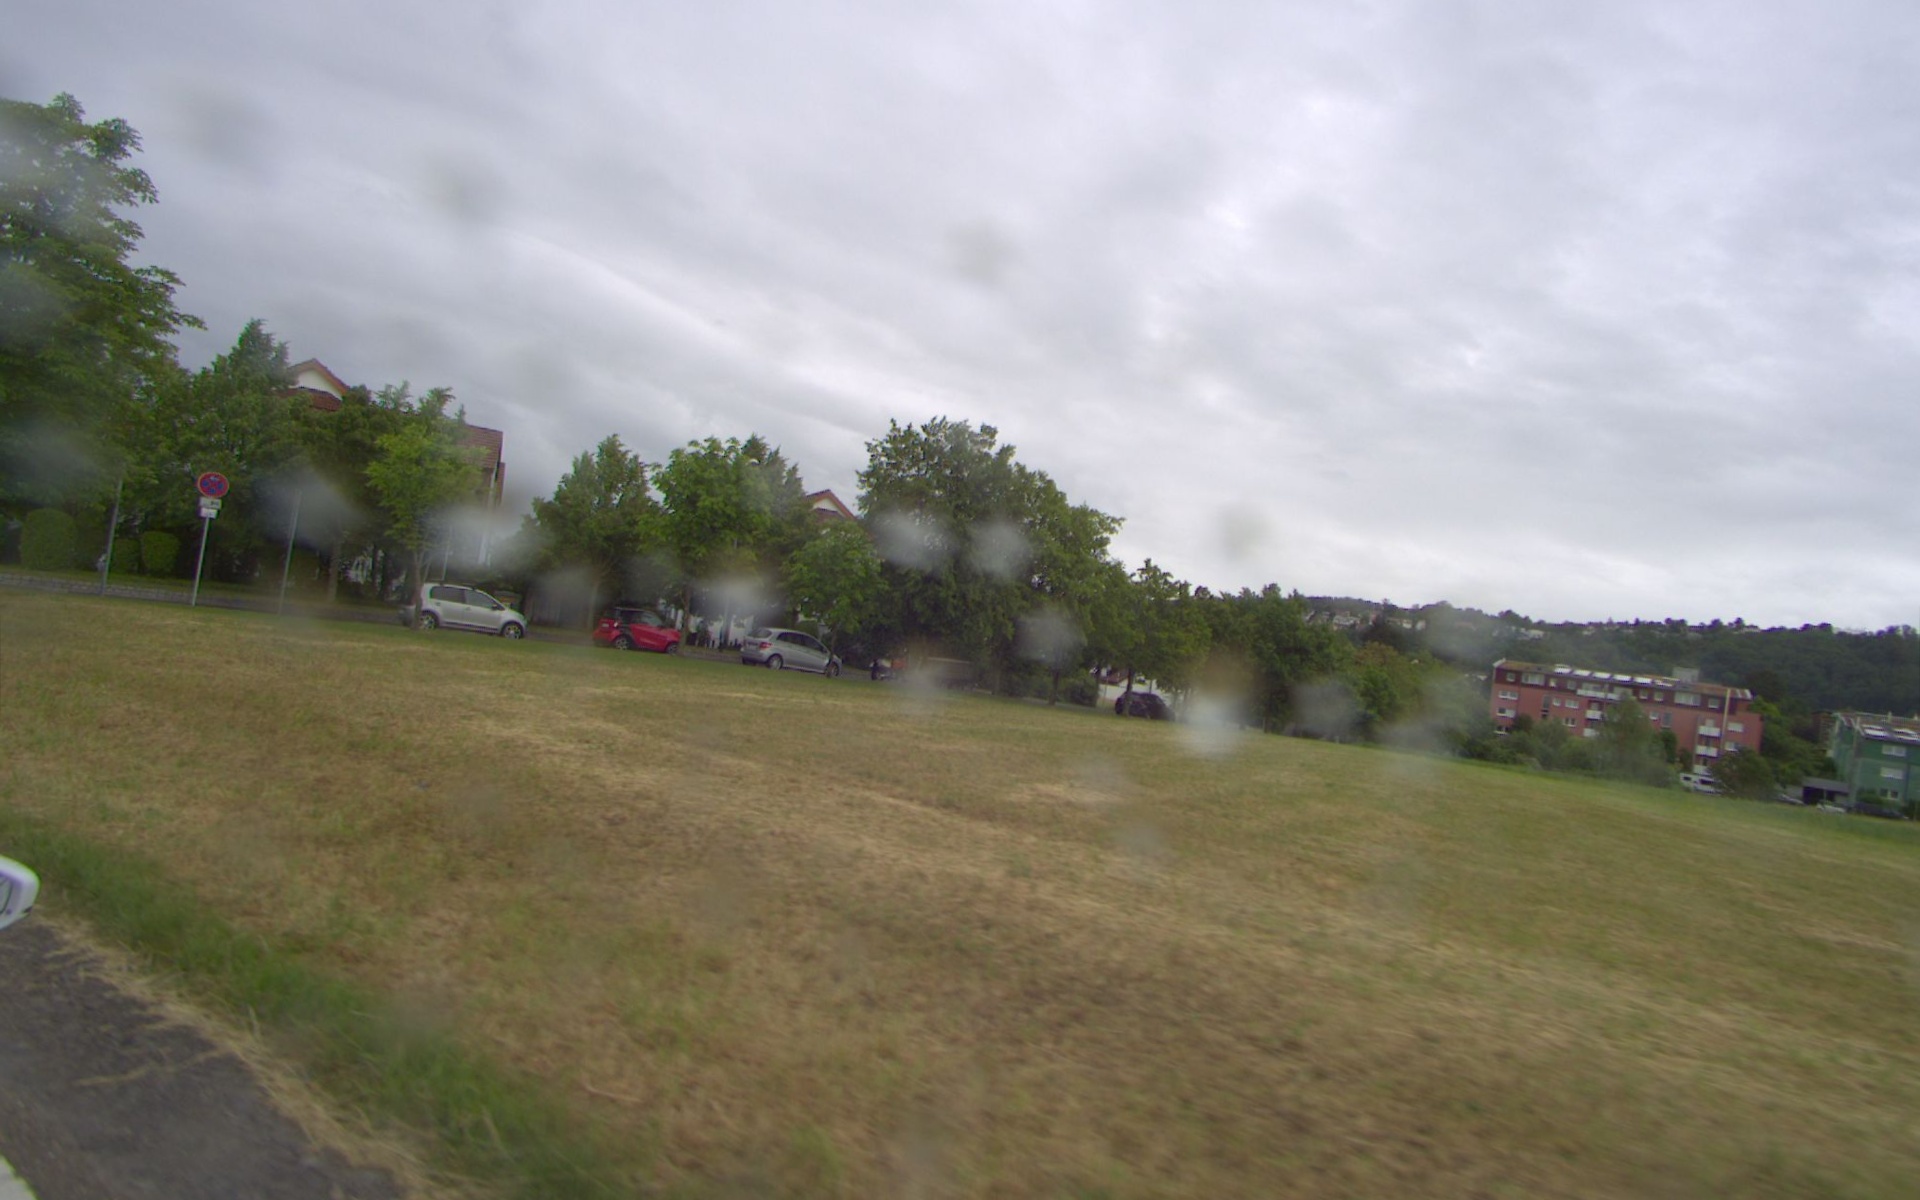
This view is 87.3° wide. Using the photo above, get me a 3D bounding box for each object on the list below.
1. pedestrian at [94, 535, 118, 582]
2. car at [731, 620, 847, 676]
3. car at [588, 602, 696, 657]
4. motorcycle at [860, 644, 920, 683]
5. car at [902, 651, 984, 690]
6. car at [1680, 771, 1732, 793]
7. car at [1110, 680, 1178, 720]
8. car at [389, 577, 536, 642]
[{"bbox_3d":[-38.313,-1.873,45.145,0.554,2.037,0.520,7,-1,-34],"label":"pedestrian"},{"bbox_3d":[-6.503,1.861,38.497,1.828,1.568,3.973,5,-4,43],"label":"car"},{"bbox_3d":[-10.779,1.029,34.173,2.993,1.452,1.536,10,-4,-42],"label":"car"},{"bbox_3d":[-2.866,2.633,41.443,0.958,1.316,2.256,6,-4,43],"label":"motorcycle"},{"bbox_3d":[-0.714,3.127,44.378,1.711,1.295,3.314,5,-4,43],"label":"car"},{"bbox_3d":[97.207,23.676,131.048,5.207,2.036,1.992,4,-3,40],"label":"car"},{"bbox_3d":[10.487,5.690,57.196,1.935,1.623,3.990,6,-6,41],"label":"car"},{"bbox_3d":[-14.861,0.314,30.120,3.531,1.496,1.661,9,-4,-41],"label":"car"}]
